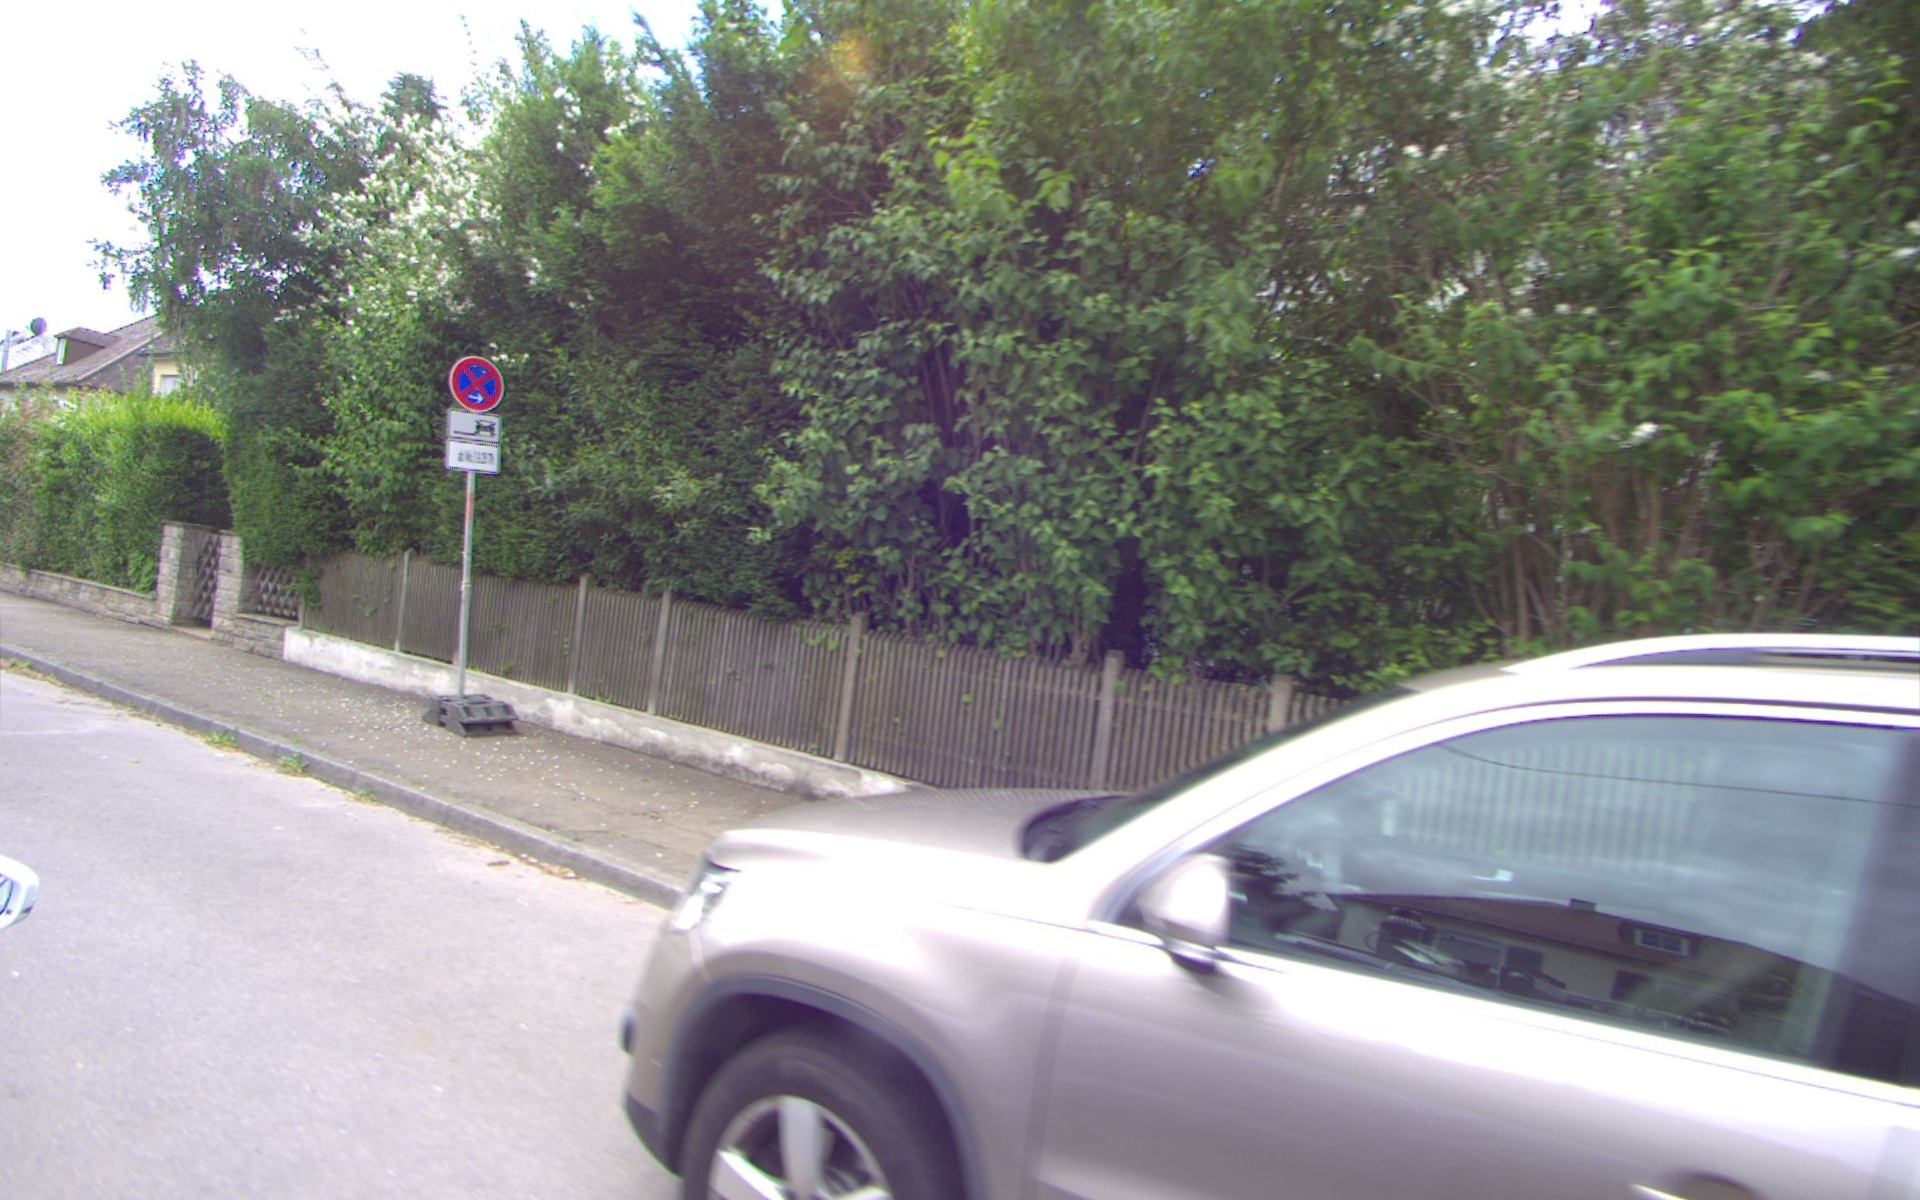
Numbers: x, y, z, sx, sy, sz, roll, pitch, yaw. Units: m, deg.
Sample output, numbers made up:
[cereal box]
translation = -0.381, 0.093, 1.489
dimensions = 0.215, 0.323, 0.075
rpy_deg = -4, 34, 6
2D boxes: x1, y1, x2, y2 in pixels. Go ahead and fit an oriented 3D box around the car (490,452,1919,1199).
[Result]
[car]
translation = 1.229, 0.826, 2.059
dimensions = 4.056, 1.651, 1.877
rpy_deg = 8, -1, 31
